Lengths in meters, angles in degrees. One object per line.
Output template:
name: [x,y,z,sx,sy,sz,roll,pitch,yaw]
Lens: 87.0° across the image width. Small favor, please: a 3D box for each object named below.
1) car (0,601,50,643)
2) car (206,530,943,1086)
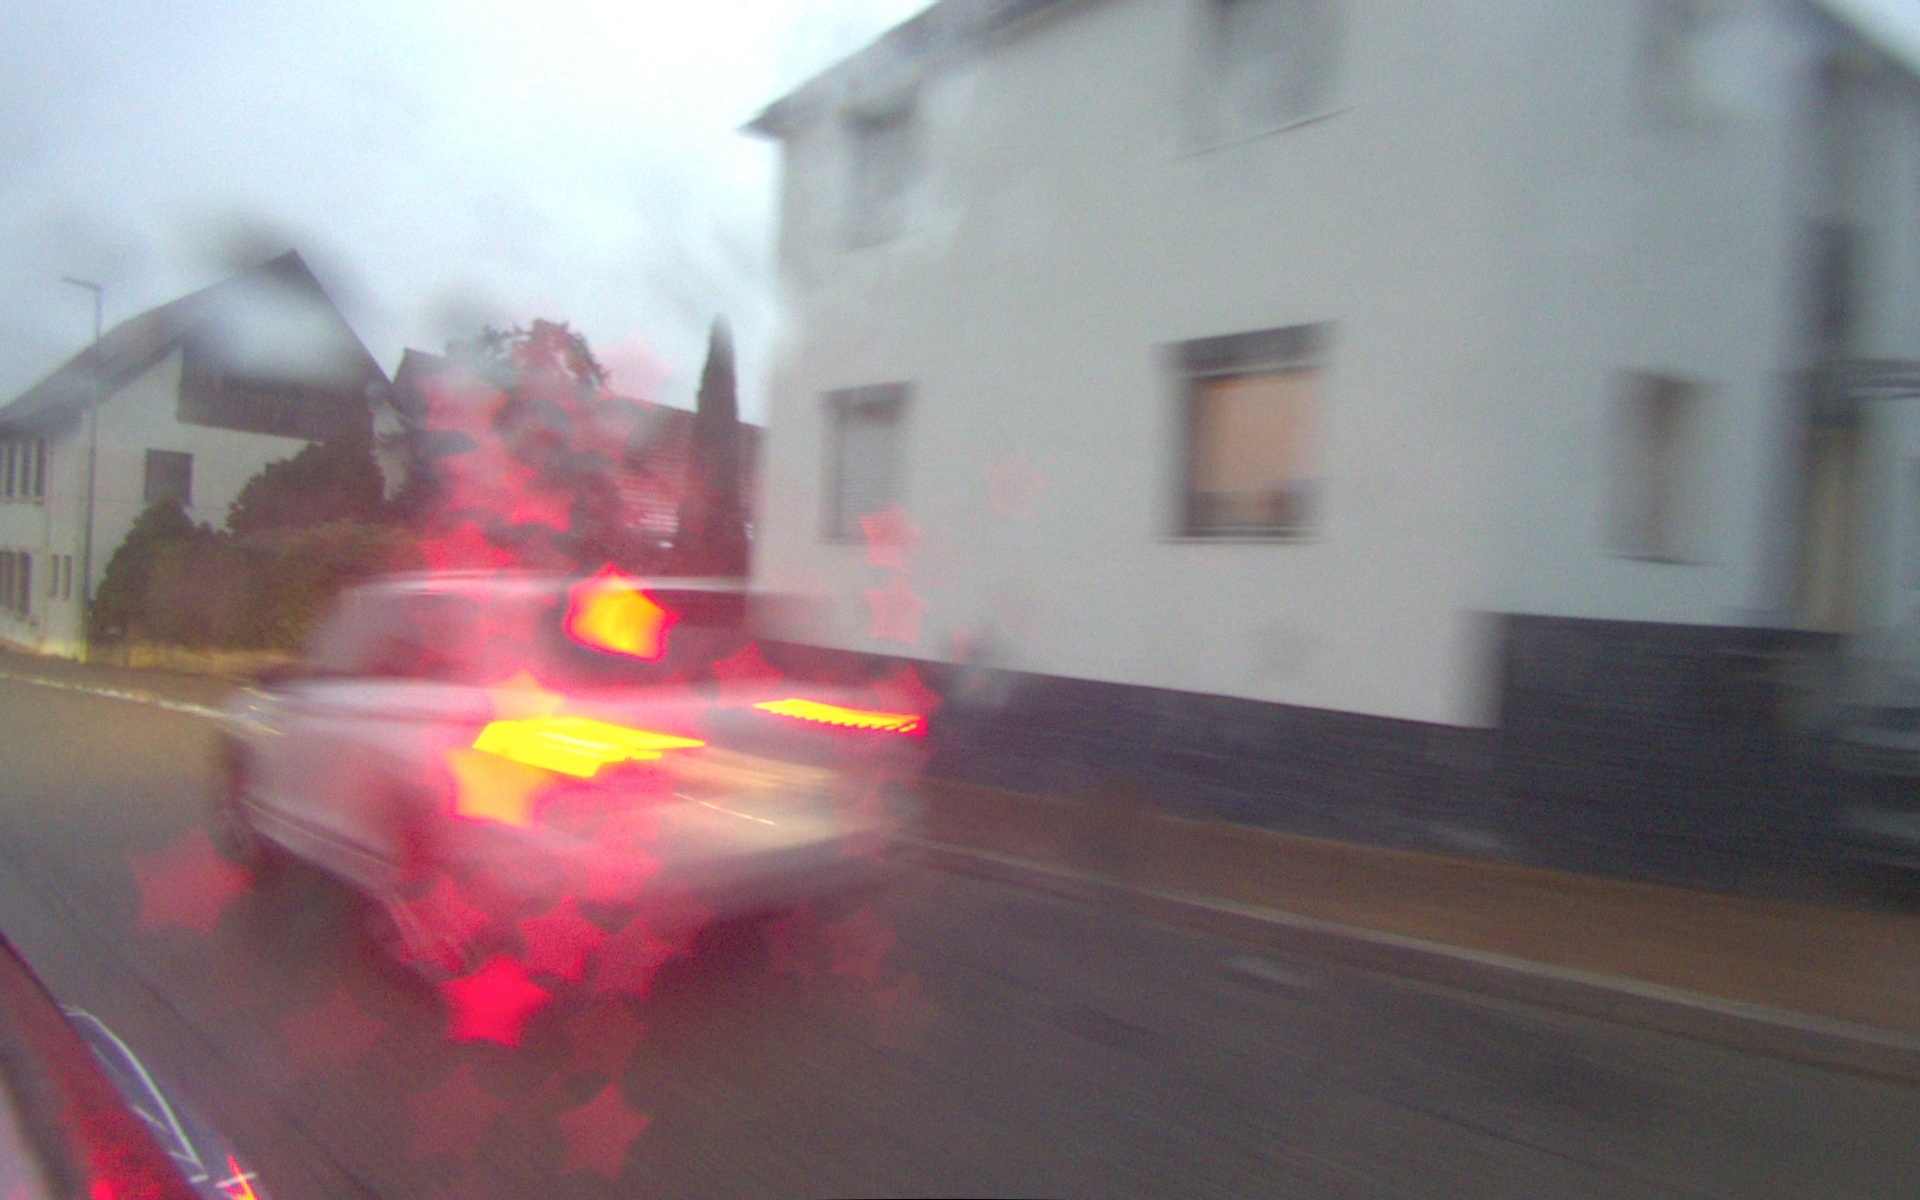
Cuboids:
car: [-35.892,0.757,36.654,4.180,1.436,1.999,1,0,2]
car: [-2.128,0.578,4.906,4.000,1.592,1.739,1,0,43]
